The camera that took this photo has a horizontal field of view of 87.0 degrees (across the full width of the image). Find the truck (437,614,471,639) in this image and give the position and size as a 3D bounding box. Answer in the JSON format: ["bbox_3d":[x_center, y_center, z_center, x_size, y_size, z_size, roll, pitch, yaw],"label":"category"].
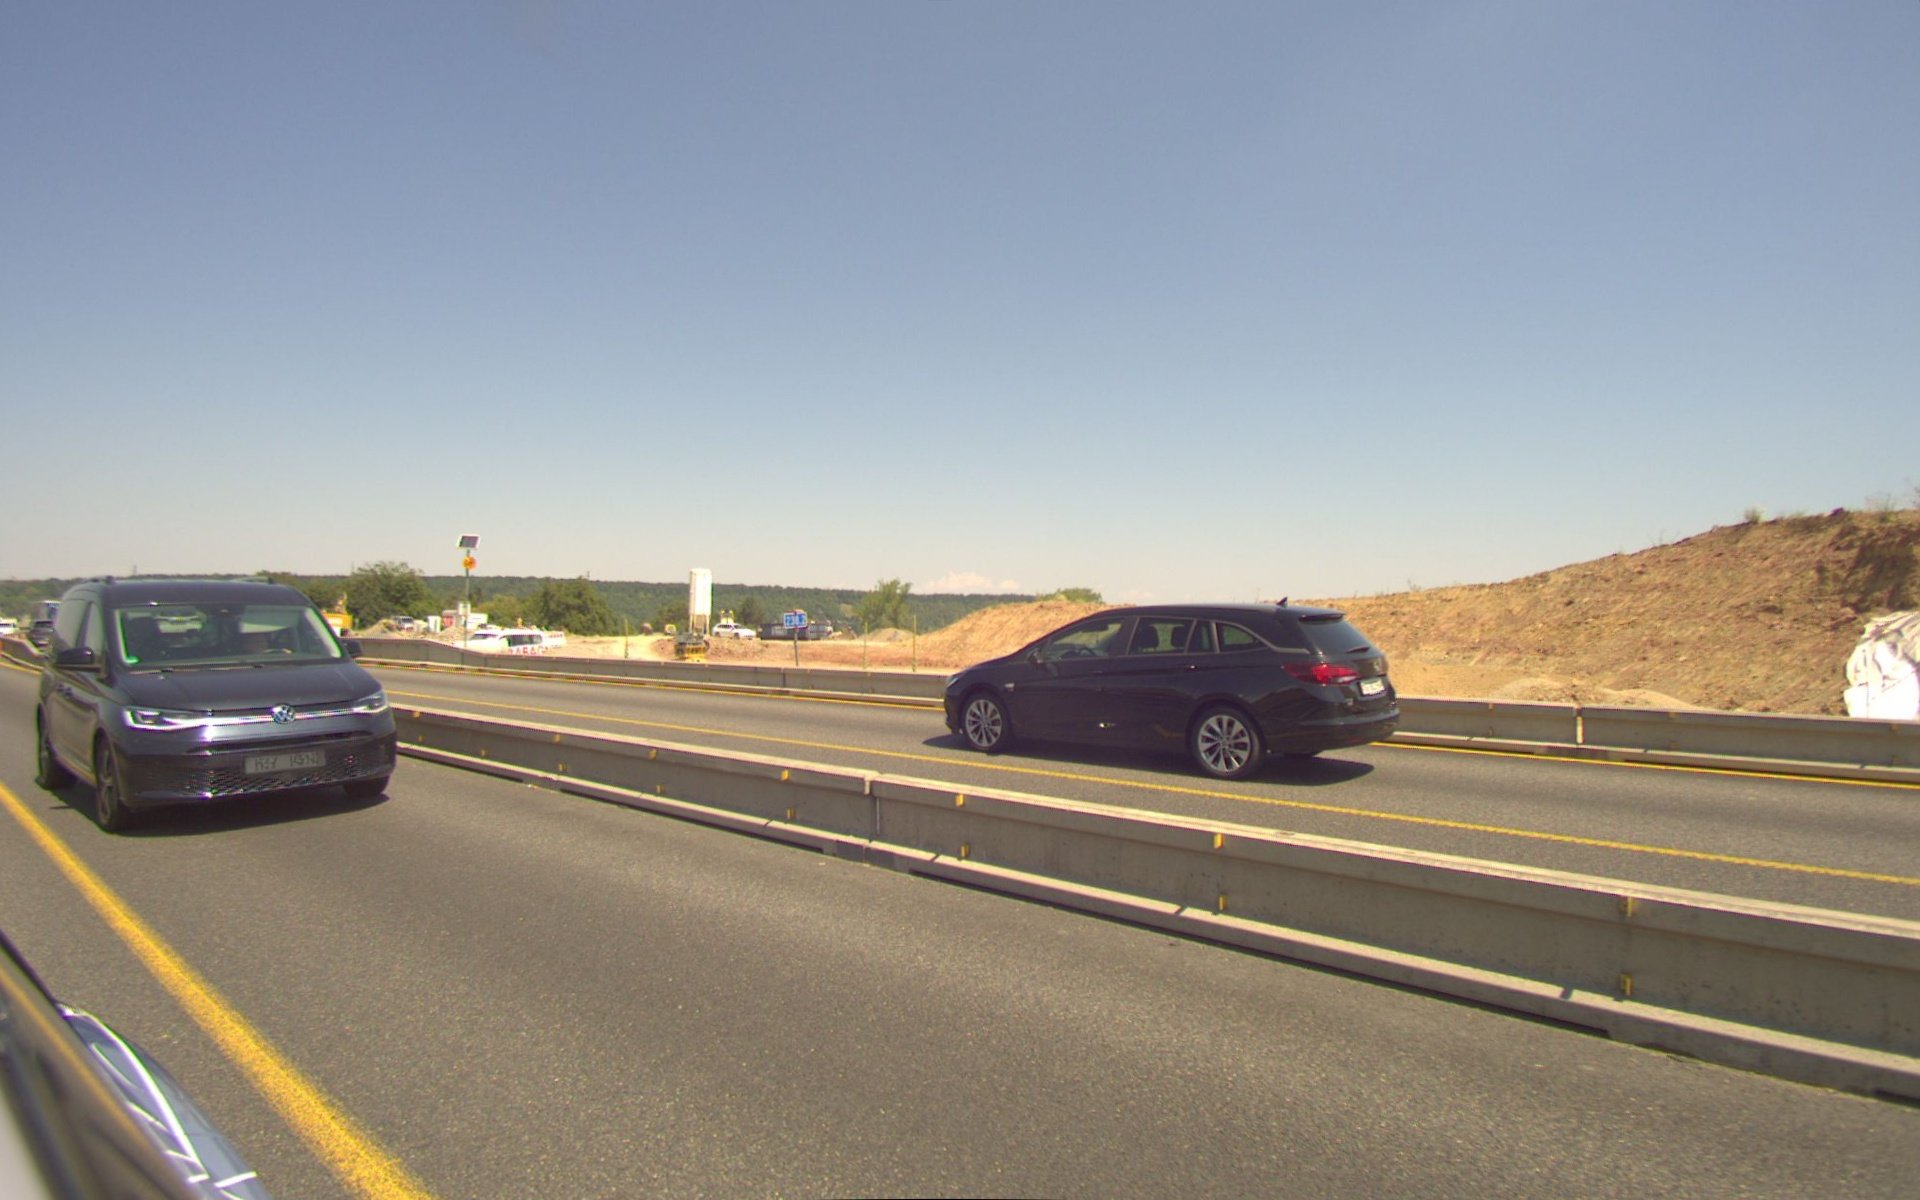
[{"bbox_3d":[-62.928,3.276,125.749,4.262,3.066,2.317,-1,-2,40],"label":"truck"}]

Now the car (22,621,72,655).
[{"bbox_3d":[-45.301,1.850,50.176,1.674,1.591,4.137,1,-2,-44],"label":"car"}]

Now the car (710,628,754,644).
[{"bbox_3d":[-20.988,3.299,93.209,4.442,1.420,1.595,-1,-2,40],"label":"car"}]

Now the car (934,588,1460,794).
[{"bbox_3d":[2.039,0.720,9.663,4.575,1.512,1.841,-1,-2,42],"label":"car"}]

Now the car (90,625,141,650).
[{"bbox_3d":[-50.300,2.197,60.253,4.647,1.434,1.801,-2,-2,43],"label":"car"}]

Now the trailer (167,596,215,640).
[{"bbox_3d":[-77.927,1.882,102.781,2.722,4.146,14.016,1,-2,-33],"label":"trailer"}]

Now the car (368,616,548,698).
[{"bbox_3d":[-10.135,1.077,20.296,4.391,1.490,1.707,-1,-2,41],"label":"car"}]

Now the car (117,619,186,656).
[{"bbox_3d":[-39.171,1.780,49.017,4.716,1.692,1.902,-2,-1,42],"label":"car"}]

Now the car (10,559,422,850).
[{"bbox_3d":[-6.447,0.678,8.540,4.602,1.803,1.901,-1,-1,42],"label":"car"}]

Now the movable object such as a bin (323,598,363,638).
[{"bbox_3d":[-70.542,2.079,115.861,2.882,4.362,9.356,0,-1,-26],"label":"movable object such as a bin"}]

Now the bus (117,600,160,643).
[{"bbox_3d":[-62.728,1.662,77.261,2.320,3.149,7.239,1,-2,-41],"label":"bus"}]

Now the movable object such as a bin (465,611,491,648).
[{"bbox_3d":[-42.939,2.632,90.226,1.965,3.165,4.291,0,-1,-24],"label":"movable object such as a bin"}]

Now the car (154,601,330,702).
[{"bbox_3d":[-14.245,0.962,19.955,5.037,1.755,1.753,-1,-2,42],"label":"car"}]

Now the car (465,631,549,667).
[{"bbox_3d":[-19.704,2.105,44.173,1.537,1.466,3.177,-1,-1,23],"label":"car"}]

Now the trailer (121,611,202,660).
[{"bbox_3d":[-34.832,1.561,44.098,2.106,1.997,5.237,3,-3,-45],"label":"trailer"}]

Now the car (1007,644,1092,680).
[{"bbox_3d":[5.187,3.581,58.740,4.551,1.939,1.977,-1,-2,34],"label":"car"}]

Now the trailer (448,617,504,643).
[{"bbox_3d":[-58.936,3.620,123.219,2.881,3.019,5.507,-1,-2,40],"label":"trailer"}]

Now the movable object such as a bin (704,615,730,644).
[{"bbox_3d":[-27.134,3.235,112.885,1.965,3.165,4.500,0,-1,-24],"label":"movable object such as a bin"}]
